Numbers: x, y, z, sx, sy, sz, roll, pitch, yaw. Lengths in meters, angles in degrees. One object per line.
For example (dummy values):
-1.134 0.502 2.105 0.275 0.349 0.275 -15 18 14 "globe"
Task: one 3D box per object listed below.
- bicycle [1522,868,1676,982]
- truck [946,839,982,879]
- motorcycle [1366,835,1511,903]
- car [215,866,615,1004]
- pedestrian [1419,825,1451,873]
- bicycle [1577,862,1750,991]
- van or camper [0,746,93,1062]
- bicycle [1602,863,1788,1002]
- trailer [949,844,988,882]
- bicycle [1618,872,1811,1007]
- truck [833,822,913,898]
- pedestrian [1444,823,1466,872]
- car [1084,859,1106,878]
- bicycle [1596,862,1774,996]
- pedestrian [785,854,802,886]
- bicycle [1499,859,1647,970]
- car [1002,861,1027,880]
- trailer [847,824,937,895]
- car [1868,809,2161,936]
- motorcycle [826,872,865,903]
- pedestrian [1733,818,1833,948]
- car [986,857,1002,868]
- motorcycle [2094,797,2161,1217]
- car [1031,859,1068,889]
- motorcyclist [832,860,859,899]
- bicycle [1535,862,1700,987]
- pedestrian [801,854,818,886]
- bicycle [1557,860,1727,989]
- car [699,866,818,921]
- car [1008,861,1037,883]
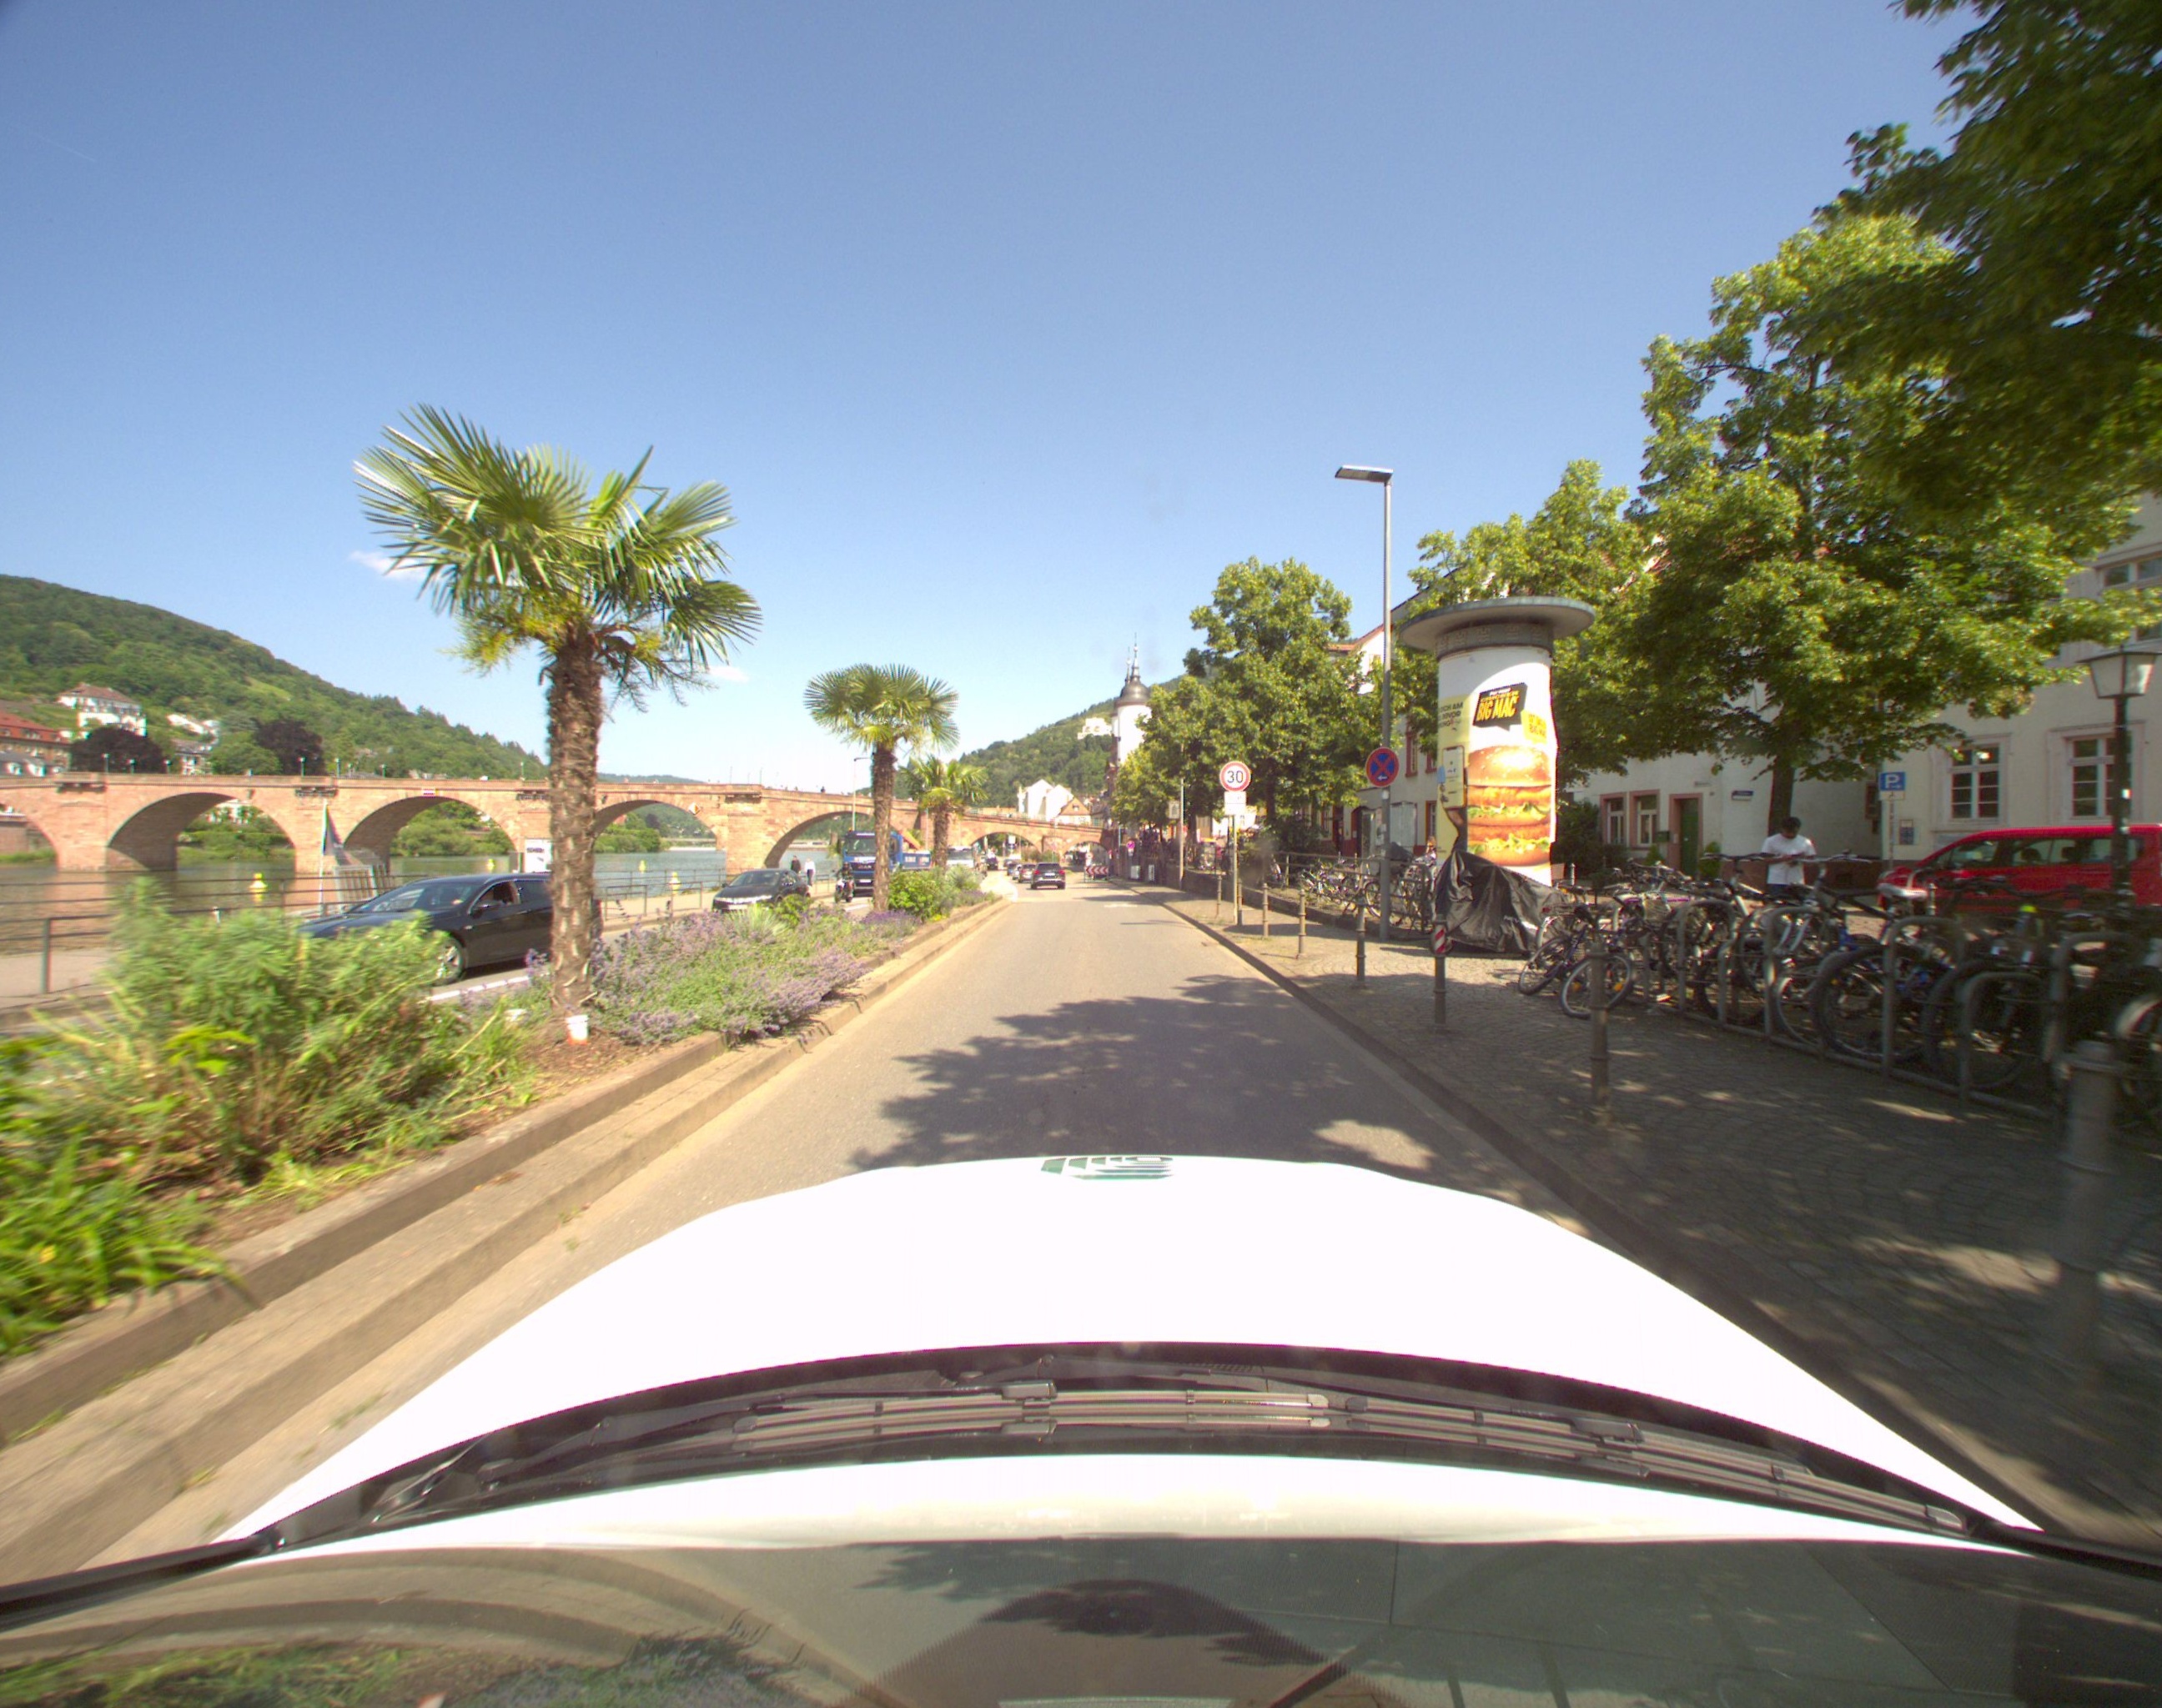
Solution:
5.228 0.702 8.224 1.482 1.120 0.250 0 0 -6 "bicycle"
-10.317 0.446 72.353 2.651 3.403 5.130 0 0 -3 "truck"
7.670 0.312 17.623 2.810 1.398 0.830 0 0 19 "motorcycle"
-9.215 0.983 12.014 1.813 1.455 4.927 -2 0 0 "car"
14.309 -0.215 32.935 0.965 1.915 0.747 0 0 0 "pedestrian"
5.306 0.645 7.428 1.482 1.120 0.250 -1 0 -6 "bicycle"
-9.316 0.389 4.122 1.988 2.450 5.490 -1 0 -2 "van or camper"
5.237 0.653 6.951 1.482 1.120 0.250 -1 0 -6 "bicycle"
-10.531 0.759 77.333 2.651 3.403 10.159 0 0 -2 "trailer"
5.208 0.685 6.703 1.482 1.047 0.250 -1 0 -6 "bicycle"
-9.846 0.260 38.994 2.649 3.403 4.449 0 0 0 "truck"
15.580 -0.283 33.962 0.632 2.013 0.644 0 0 1 "pedestrian"
1.330 1.317 74.744 1.711 1.596 3.901 0 0 6 "car"
5.343 0.650 7.211 1.482 1.120 0.250 -1 0 -6 "bicycle"
-16.243 0.906 46.068 0.761 1.780 0.694 1 0 -8 "pedestrian"
5.156 0.620 8.542 1.482 1.132 0.250 0 0 -6 "bicycle"
-6.309 1.557 78.012 1.987 1.553 4.832 0 1 0 "car"
-9.836 0.239 43.364 2.649 3.403 8.826 0 0 0 "trailer"
17.101 0.249 14.304 1.988 1.902 4.630 0 1 -2 "car"
-9.287 1.296 32.206 0.754 1.131 2.457 0 0 2 "motorcycle"
9.206 0.360 10.705 0.704 1.653 0.707 0 0 3 "pedestrian"
-13.648 1.370 127.957 1.987 1.553 4.832 0 1 0 "car"
4.804 0.520 2.323 2.269 1.465 0.769 -1 -1 41 "motorcycle"
-1.713 1.069 45.899 1.920 1.553 4.831 -1 0 0 "car"
-9.290 0.992 32.150 0.733 1.470 1.012 0 0 3 "motorcyclist"
5.216 0.669 7.925 1.482 1.120 0.250 -2 0 -6 "bicycle"
-15.377 0.924 46.168 0.761 1.780 0.694 1 0 -8 "pedestrian"
5.265 0.649 7.649 1.482 1.120 0.250 -2 0 -6 "bicycle"
-9.405 1.106 24.159 1.947 1.413 4.215 -2 -1 -2 "car"
-4.665 1.429 65.857 1.987 1.553 4.832 0 1 0 "car"
